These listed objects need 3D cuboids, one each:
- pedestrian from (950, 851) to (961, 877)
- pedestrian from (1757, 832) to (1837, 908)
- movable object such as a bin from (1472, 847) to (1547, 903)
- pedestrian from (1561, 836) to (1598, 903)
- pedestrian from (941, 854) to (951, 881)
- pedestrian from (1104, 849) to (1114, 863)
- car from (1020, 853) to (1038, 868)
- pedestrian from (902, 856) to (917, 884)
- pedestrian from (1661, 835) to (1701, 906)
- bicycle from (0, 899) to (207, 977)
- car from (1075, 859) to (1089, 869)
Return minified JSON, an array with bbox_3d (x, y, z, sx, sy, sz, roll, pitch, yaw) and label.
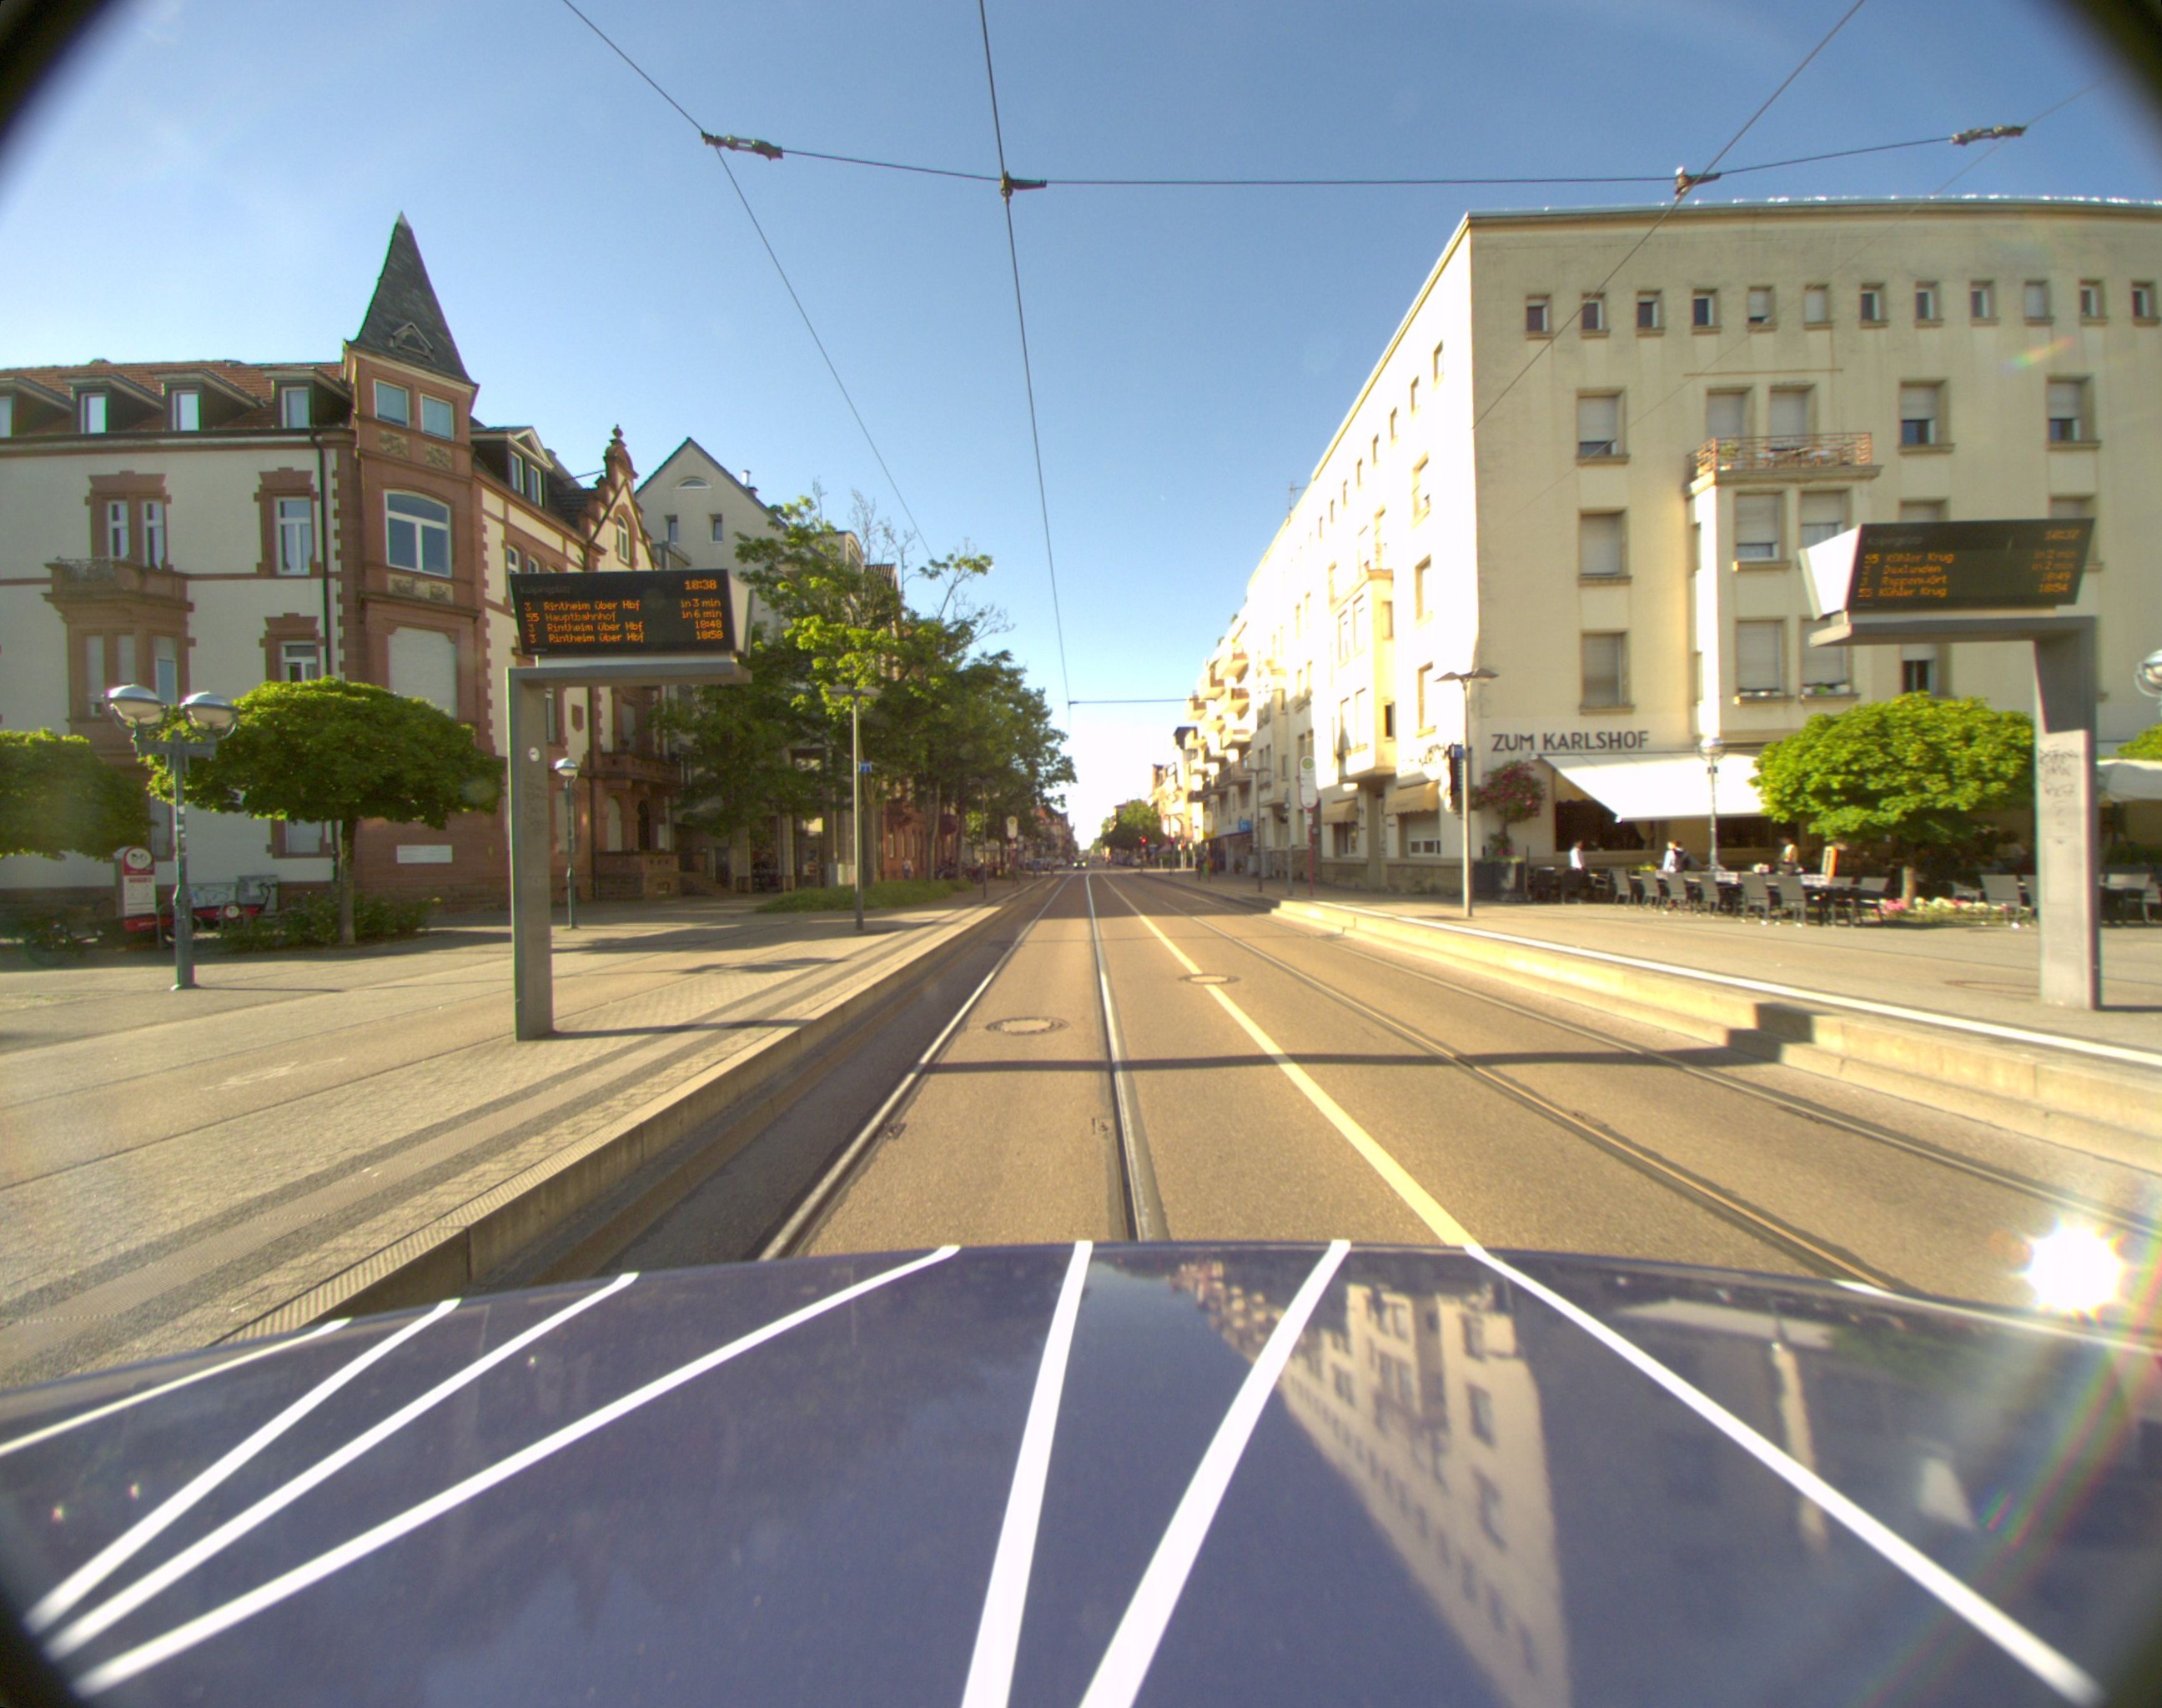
[{"bbox_3d":[-9.640,0.752,58.421,0.653,2.002,0.559,-1,1,3],"label":"pedestrian"},{"bbox_3d":[15.988,0.343,16.981,1.066,1.635,0.756,-1,1,-4],"label":"pedestrian"},{"bbox_3d":[11.172,0.521,19.851,1.318,1.392,1.128,-1,0,-1],"label":"movable object such as a bin"},{"bbox_3d":[12.563,0.402,19.166,0.672,1.634,0.752,-1,-3,28],"label":"pedestrian"},{"bbox_3d":[-10.388,1.033,58.512,0.653,2.002,0.559,-1,1,3],"label":"pedestrian"},{"bbox_3d":[4.016,0.267,107.676,1.334,1.990,1.138,-1,1,1],"label":"pedestrian"},{"bbox_3d":[-7.187,0.835,105.269,1.998,2.002,4.001,-1,0,4],"label":"car"},{"bbox_3d":[-10.600,0.981,47.032,0.742,1.725,0.877,-2,1,-6],"label":"pedestrian"},{"bbox_3d":[14.106,0.392,17.882,0.672,1.634,0.678,-2,-3,37],"label":"pedestrian"},{"bbox_3d":[-18.170,1.496,14.154,0.790,1.062,2.804,-2,2,-8],"label":"bicycle"},{"bbox_3d":[0.141,1.450,113.144,1.998,1.318,3.863,-1,0,1],"label":"car"}]
